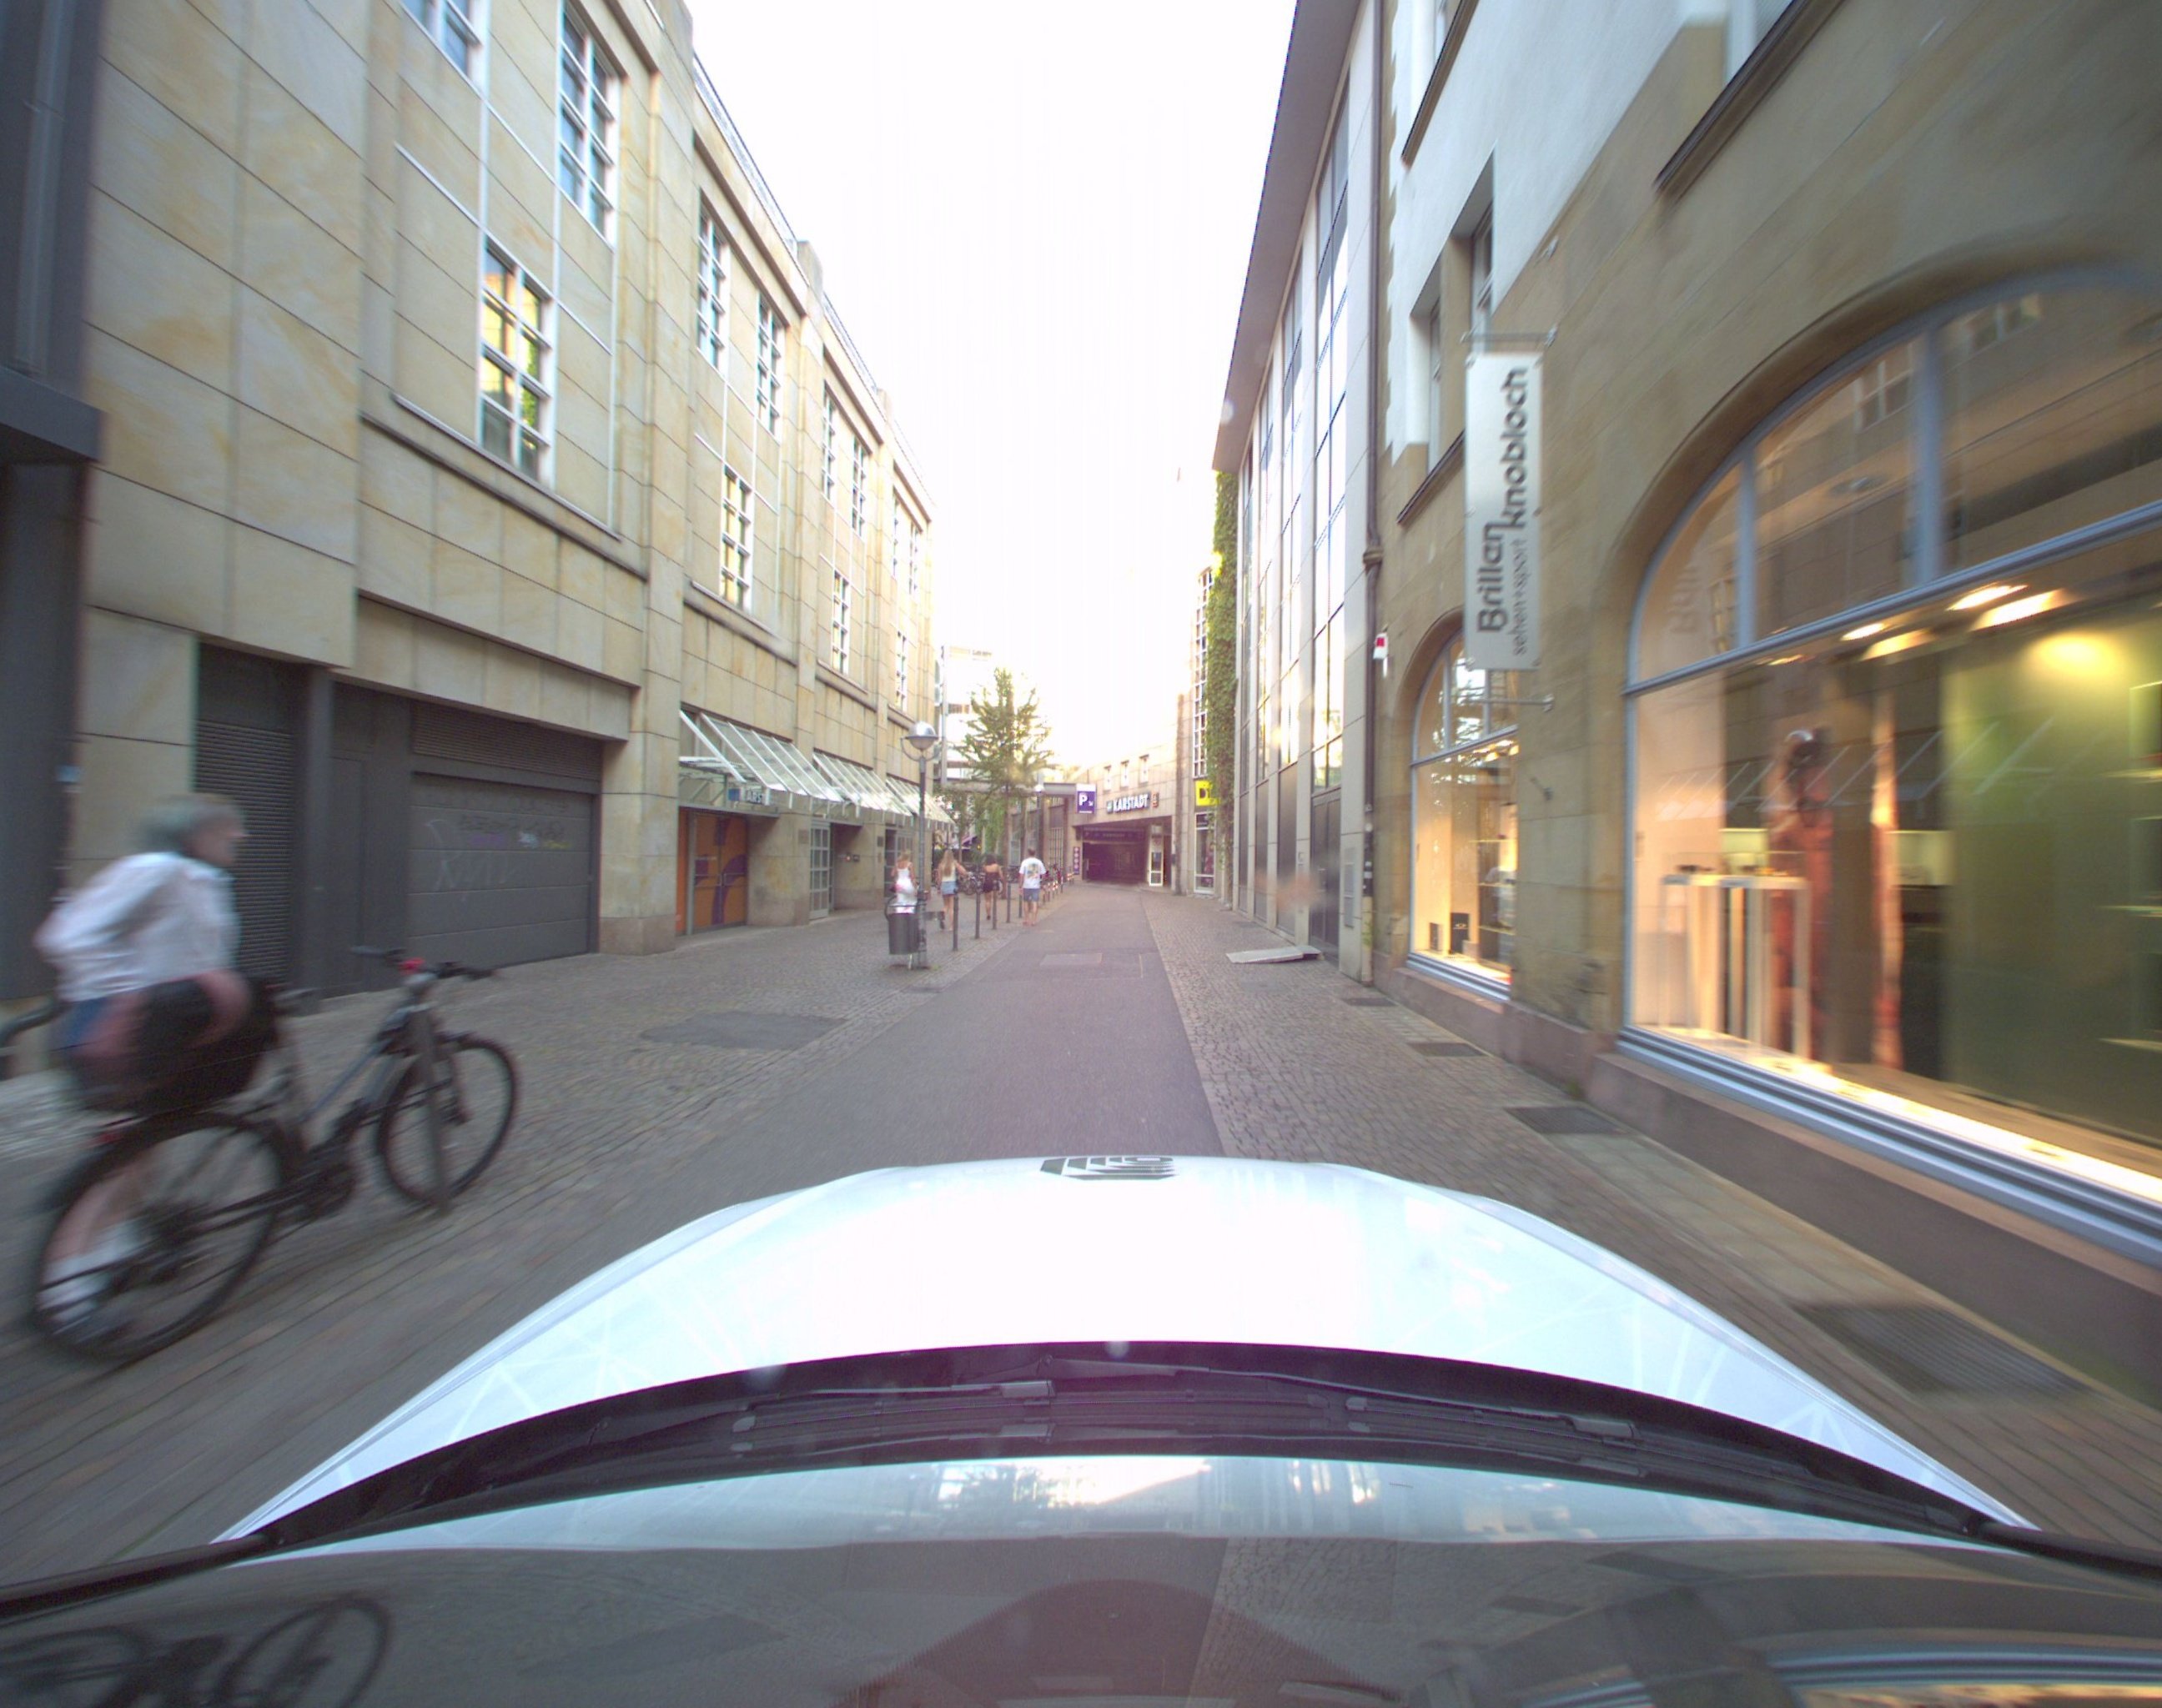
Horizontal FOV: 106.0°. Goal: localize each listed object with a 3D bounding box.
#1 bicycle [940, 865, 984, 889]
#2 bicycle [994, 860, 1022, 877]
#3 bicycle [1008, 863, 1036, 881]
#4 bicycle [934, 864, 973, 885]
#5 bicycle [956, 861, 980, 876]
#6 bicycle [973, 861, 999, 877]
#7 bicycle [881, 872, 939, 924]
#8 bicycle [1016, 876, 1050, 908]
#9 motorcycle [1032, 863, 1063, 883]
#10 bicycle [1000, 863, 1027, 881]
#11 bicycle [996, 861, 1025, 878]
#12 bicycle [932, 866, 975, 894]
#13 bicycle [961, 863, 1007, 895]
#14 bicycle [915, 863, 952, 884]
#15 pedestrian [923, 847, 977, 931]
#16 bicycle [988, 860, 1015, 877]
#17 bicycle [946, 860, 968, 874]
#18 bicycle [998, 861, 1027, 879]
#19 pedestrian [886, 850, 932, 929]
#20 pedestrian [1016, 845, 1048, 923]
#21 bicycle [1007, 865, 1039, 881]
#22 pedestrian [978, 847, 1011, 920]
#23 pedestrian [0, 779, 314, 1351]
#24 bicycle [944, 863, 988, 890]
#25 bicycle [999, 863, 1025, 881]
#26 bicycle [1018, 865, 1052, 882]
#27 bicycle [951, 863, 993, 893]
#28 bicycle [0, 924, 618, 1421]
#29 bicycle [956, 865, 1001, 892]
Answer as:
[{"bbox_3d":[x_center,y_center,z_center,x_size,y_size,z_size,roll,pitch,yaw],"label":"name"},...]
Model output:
[{"bbox_3d":[-5.323,1.015,36.424,1.900,1.052,0.530,0,0,-20],"label":"bicycle"},{"bbox_3d":[-4.881,0.989,54.185,1.778,1.114,0.539,0,0,-18],"label":"bicycle"},{"bbox_3d":[-3.487,1.057,48.308,1.543,1.049,0.572,0,0,-18],"label":"bicycle"},{"bbox_3d":[-6.390,1.021,40.922,1.883,1.043,0.530,0,0,-20],"label":"bicycle"},{"bbox_3d":[-8.813,1.114,63.387,1.776,1.114,0.540,0,0,-16],"label":"bicycle"},{"bbox_3d":[-6.716,1.055,57.536,1.778,1.114,0.539,0,0,-18],"label":"bicycle"},{"bbox_3d":[-4.061,1.016,19.449,0.517,1.138,1.773,0,0,19],"label":"bicycle"},{"bbox_3d":[-1.536,1.208,26.185,0.489,0.939,1.666,2,0,18],"label":"bicycle"},{"bbox_3d":[-1.833,1.052,44.823,1.667,1.050,0.461,0,0,-18],"label":"motorcycle"},{"bbox_3d":[-4.072,1.082,49.306,1.543,1.049,0.572,0,0,-18],"label":"bicycle"},{"bbox_3d":[-4.574,0.998,52.971,1.778,1.114,0.539,0,0,-18],"label":"bicycle"},{"bbox_3d":[-5.808,1.165,37.113,1.839,1.225,0.530,0,0,-20],"label":"bicycle"},{"bbox_3d":[-3.884,0.999,32.718,1.772,1.231,0.530,0,0,-20],"label":"bicycle"},{"bbox_3d":[-7.750,1.015,42.728,1.831,1.043,0.530,0,0,-20],"label":"bicycle"},{"bbox_3d":[-2.780,0.728,17.377,0.801,1.729,0.952,1,0,13],"label":"pedestrian"},{"bbox_3d":[-5.378,0.976,55.234,1.778,1.114,0.539,0,0,-18],"label":"bicycle"},{"bbox_3d":[-10.455,1.065,68.640,1.778,1.190,0.583,0,0,-18],"label":"bicycle"},{"bbox_3d":[-4.361,1.033,51.889,1.778,1.114,0.539,0,0,-18],"label":"bicycle"},{"bbox_3d":[-3.705,0.750,17.624,0.670,1.664,0.863,1,0,11],"label":"pedestrian"},{"bbox_3d":[-1.168,0.708,19.570,0.740,1.822,0.877,0,0,-3],"label":"pedestrian"},{"bbox_3d":[-3.384,1.117,47.353,1.778,0.904,0.461,0,0,-18],"label":"bicycle"},{"bbox_3d":[-2.174,0.734,20.630,0.783,1.795,0.971,0,0,-4],"label":"pedestrian"},{"bbox_3d":[-3.277,0.634,2.745,0.770,1.718,0.588,2,0,-19],"label":"pedestrian"},{"bbox_3d":[-5.068,0.981,35.885,1.878,1.177,0.530,0,0,-20],"label":"bicycle"},{"bbox_3d":[-4.315,1.110,50.712,1.543,1.049,0.572,0,0,-18],"label":"bicycle"},{"bbox_3d":[-2.628,1.106,46.476,1.853,0.982,0.461,0,0,-18],"label":"bicycle"},{"bbox_3d":[-4.540,1.002,34.019,1.659,1.231,0.530,0,0,-20],"label":"bicycle"},{"bbox_3d":[-2.691,0.943,3.168,0.530,1.153,1.917,2,0,4],"label":"bicycle"},{"bbox_3d":[-4.385,1.035,34.907,1.843,1.122,0.530,0,0,-20],"label":"bicycle"}]
